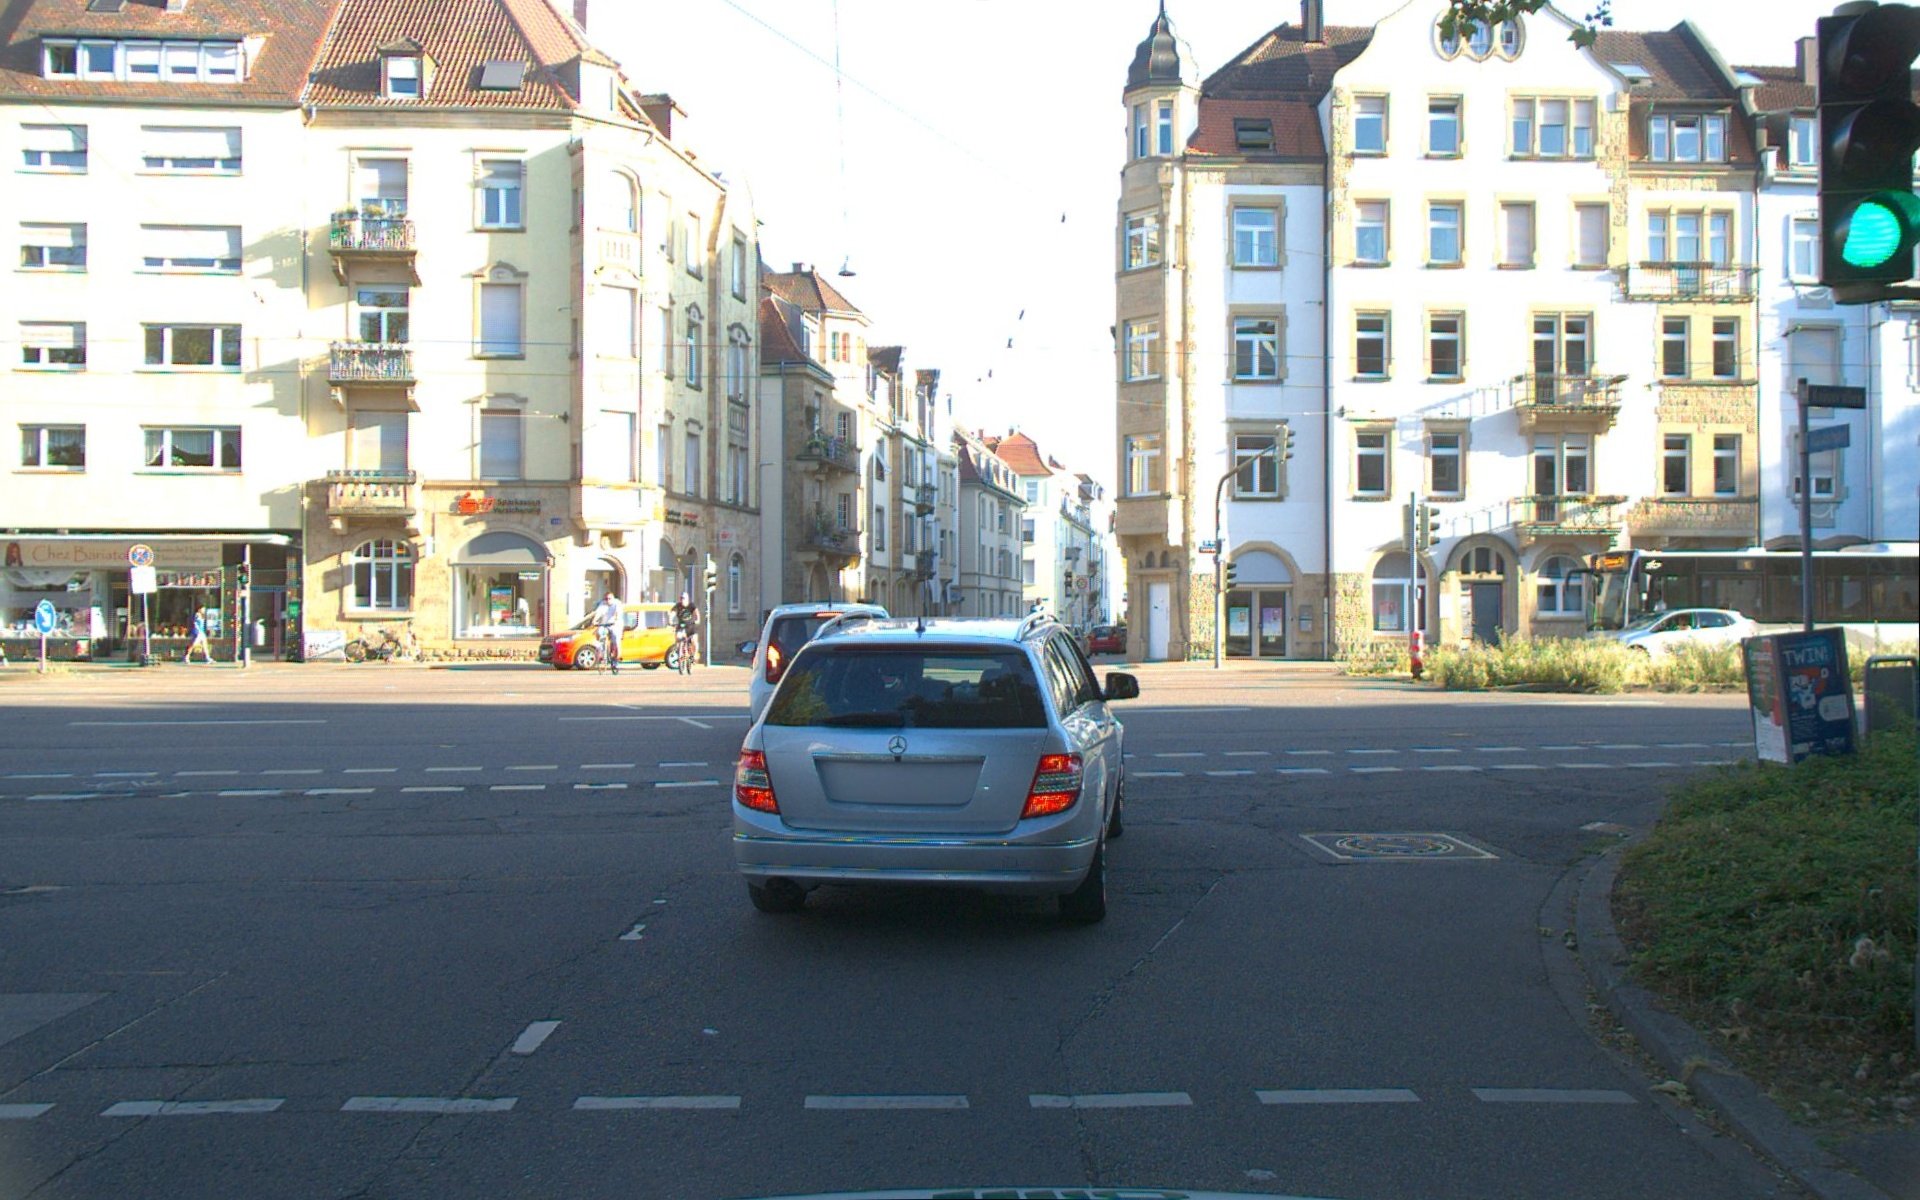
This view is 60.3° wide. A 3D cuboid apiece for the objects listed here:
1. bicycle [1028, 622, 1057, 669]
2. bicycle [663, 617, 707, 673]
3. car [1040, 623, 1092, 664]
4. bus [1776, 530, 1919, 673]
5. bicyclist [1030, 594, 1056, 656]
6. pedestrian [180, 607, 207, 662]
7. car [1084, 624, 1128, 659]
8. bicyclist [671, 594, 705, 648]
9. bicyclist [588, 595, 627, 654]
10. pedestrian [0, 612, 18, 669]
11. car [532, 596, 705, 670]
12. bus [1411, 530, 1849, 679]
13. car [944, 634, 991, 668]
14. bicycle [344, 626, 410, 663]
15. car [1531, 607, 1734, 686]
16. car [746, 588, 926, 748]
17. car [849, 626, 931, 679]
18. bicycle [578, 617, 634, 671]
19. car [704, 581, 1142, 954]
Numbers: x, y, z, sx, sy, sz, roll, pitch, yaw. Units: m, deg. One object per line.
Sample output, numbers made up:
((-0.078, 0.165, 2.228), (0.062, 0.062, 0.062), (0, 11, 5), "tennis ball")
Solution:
((2.053, 1.121, 41.363), (0.606, 1.124, 2.552), (1, -1, 0), "bicycle")
((-6.010, 0.972, 36.223), (0.637, 1.124, 1.925), (1, 1, 0), "bicycle")
((4.433, 1.784, 68.685), (1.791, 1.644, 4.003), (1, -1, 9), "car")
((27.225, 0.117, 41.866), (11.699, 3.433, 3.263), (1, -1, -3), "bus")
((2.062, 0.617, 41.305), (0.597, 1.520, 0.767), (1, -1, 0), "bicyclist")
((-22.214, 1.002, 47.942), (0.552, 1.591, 0.466), (1, -1, -7), "pedestrian")
((7.486, 2.104, 84.628), (1.791, 1.736, 4.003), (1, -1, 11), "car")
((-5.972, 0.465, 36.316), (0.597, 1.178, 0.767), (1, -1, 0), "bicyclist")
((-7.662, 0.527, 35.979), (0.645, 1.257, 0.767), (1, -1, 0), "bicyclist")
((-27.047, 1.135, 46.737), (0.552, 1.591, 0.466), (1, -1, -7), "pedestrian")
((-9.366, 0.906, 45.508), (4.268, 1.933, 1.894), (1, -1, -40), "car")
((16.538, 0.136, 41.272), (9.669, 3.433, 3.274), (1, -1, -3), "bus")
((0.420, 2.611, 85.205), (1.791, 1.644, 4.003), (1, -1, 10), "car")
((-17.149, 1.311, 48.651), (1.771, 1.046, 0.492), (0, 0, -5), "bicycle")
((15.491, 1.063, 38.242), (3.905, 1.713, 1.936), (1, -1, -1), "car")
((-1.218, 0.672, 17.700), (1.697, 1.506, 3.813), (1, -1, -1), "car")
((-2.343, 1.754, 56.397), (1.791, 1.736, 4.003), (1, -1, 12), "car")
((-7.684, 0.946, 35.977), (0.637, 1.124, 2.552), (1, -1, 0), "bicycle")
((0.061, 0.711, 8.941), (1.695, 1.503, 4.175), (1, -1, 8), "car")
